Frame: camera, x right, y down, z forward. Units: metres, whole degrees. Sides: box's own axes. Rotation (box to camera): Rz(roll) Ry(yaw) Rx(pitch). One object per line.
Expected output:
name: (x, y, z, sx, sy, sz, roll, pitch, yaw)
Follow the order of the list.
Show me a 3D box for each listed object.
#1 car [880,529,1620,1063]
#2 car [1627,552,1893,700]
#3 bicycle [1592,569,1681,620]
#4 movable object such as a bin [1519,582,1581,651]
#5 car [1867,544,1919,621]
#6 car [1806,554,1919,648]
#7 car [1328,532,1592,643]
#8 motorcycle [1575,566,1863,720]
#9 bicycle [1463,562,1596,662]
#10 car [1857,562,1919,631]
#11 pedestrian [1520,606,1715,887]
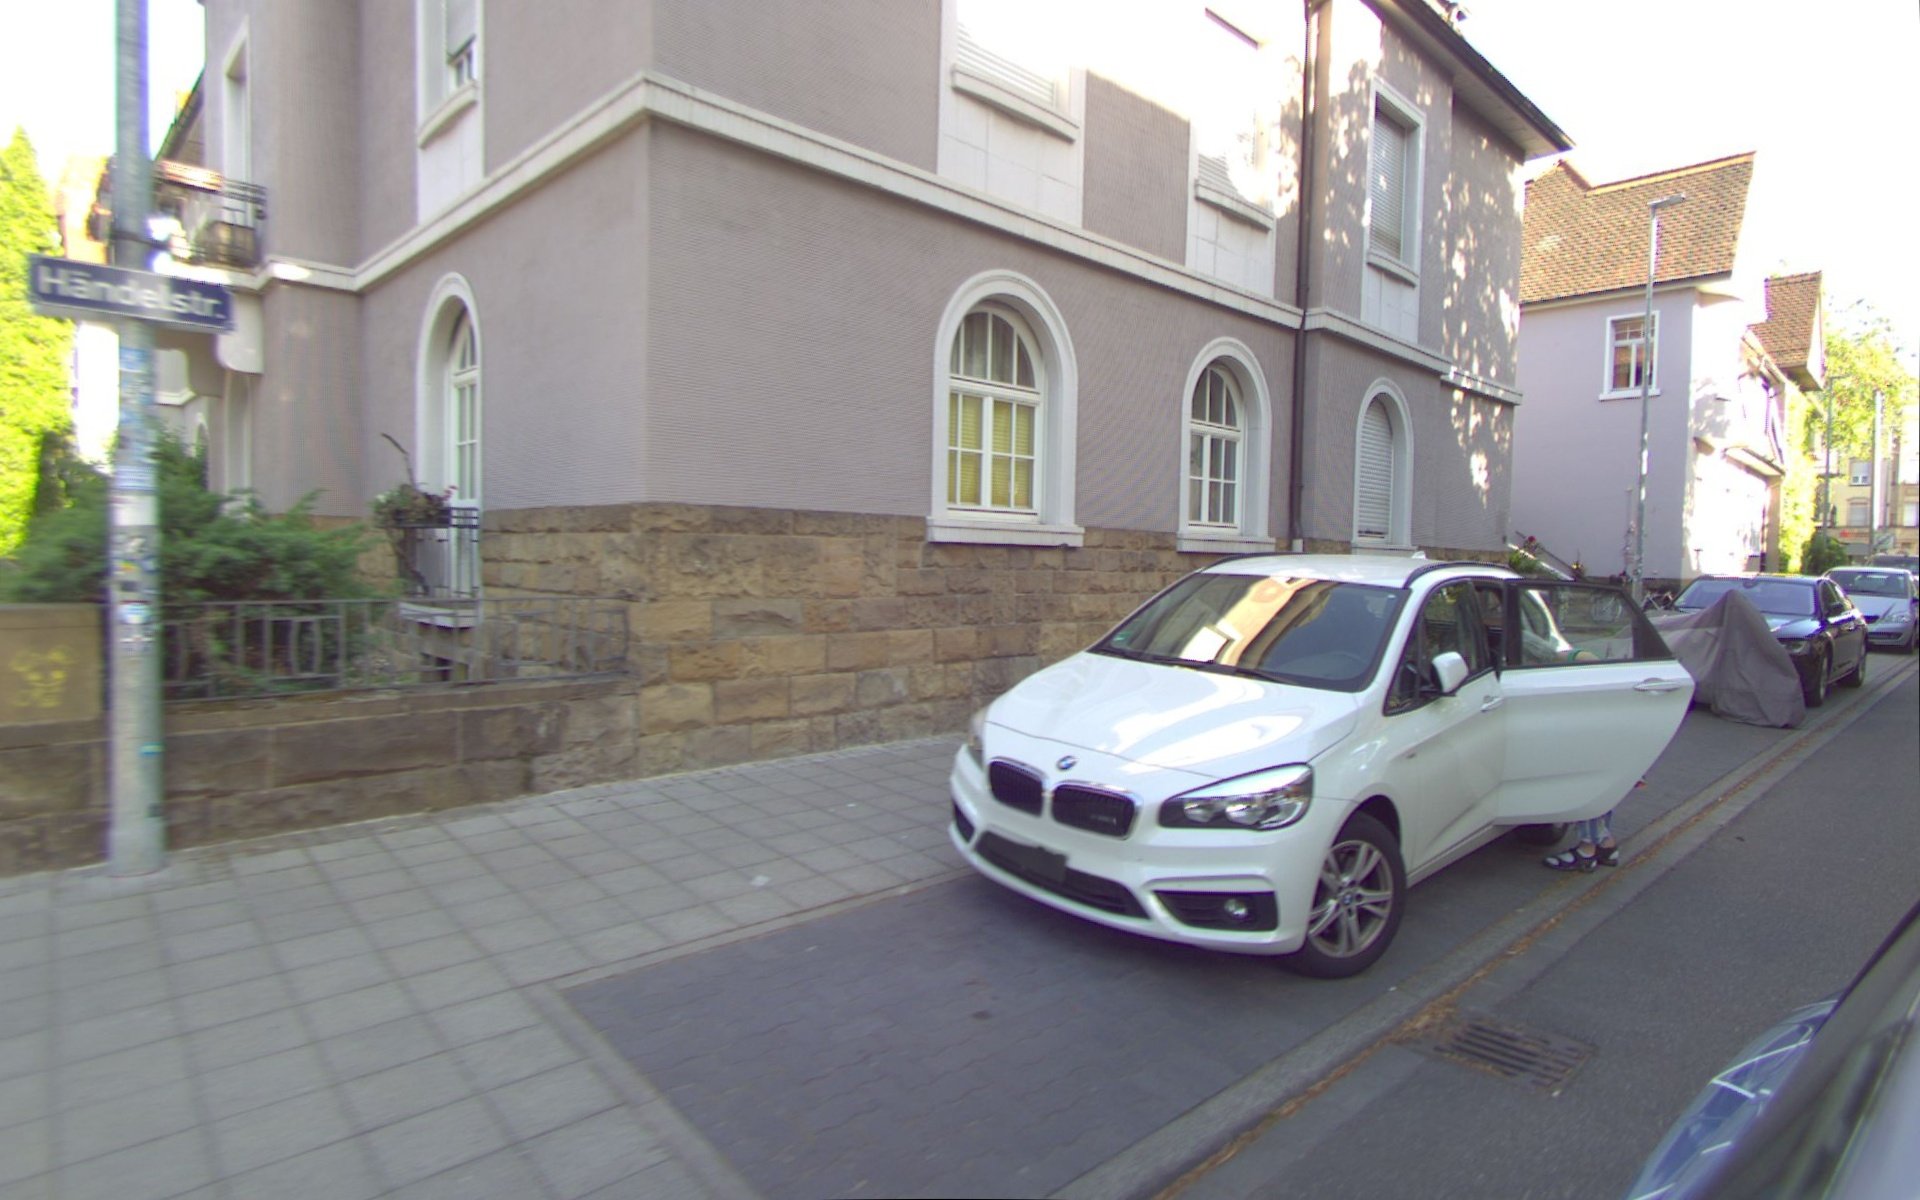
car: (1.733, 0.506, 5.063, 4.088, 1.557, 1.702, -2, 6, -44)
car: (10.370, 0.198, 12.997, 4.529, 1.511, 1.858, -1, 5, -42)
bicycle: (15.636, -0.146, 23.417, 0.389, 1.114, 1.637, -1, 3, -44)
movable object such as a bin: (9.571, 0.251, 16.419, 0.815, 1.052, 0.648, -1, 4, -45)
car: (26.587, -0.484, 27.831, 4.701, 1.938, 1.868, -1, 5, -42)
car: (18.415, -0.052, 20.125, 3.932, 1.619, 1.793, -2, 6, -42)
car: (9.461, -0.343, 19.400, 1.736, 1.865, 4.146, -2, 5, -42)
motorcycle: (7.954, 0.379, 10.738, 0.904, 1.355, 2.202, 0, 4, -35)
bicycle: (8.559, 0.126, 15.169, 2.213, 1.354, 1.084, -1, 4, -44)
car: (22.544, -0.124, 23.941, 1.680, 1.475, 4.368, 4, 4, 45)
pedestrian: (3.409, 0.696, 5.248, 0.723, 1.272, 0.637, 4, 4, 41)
